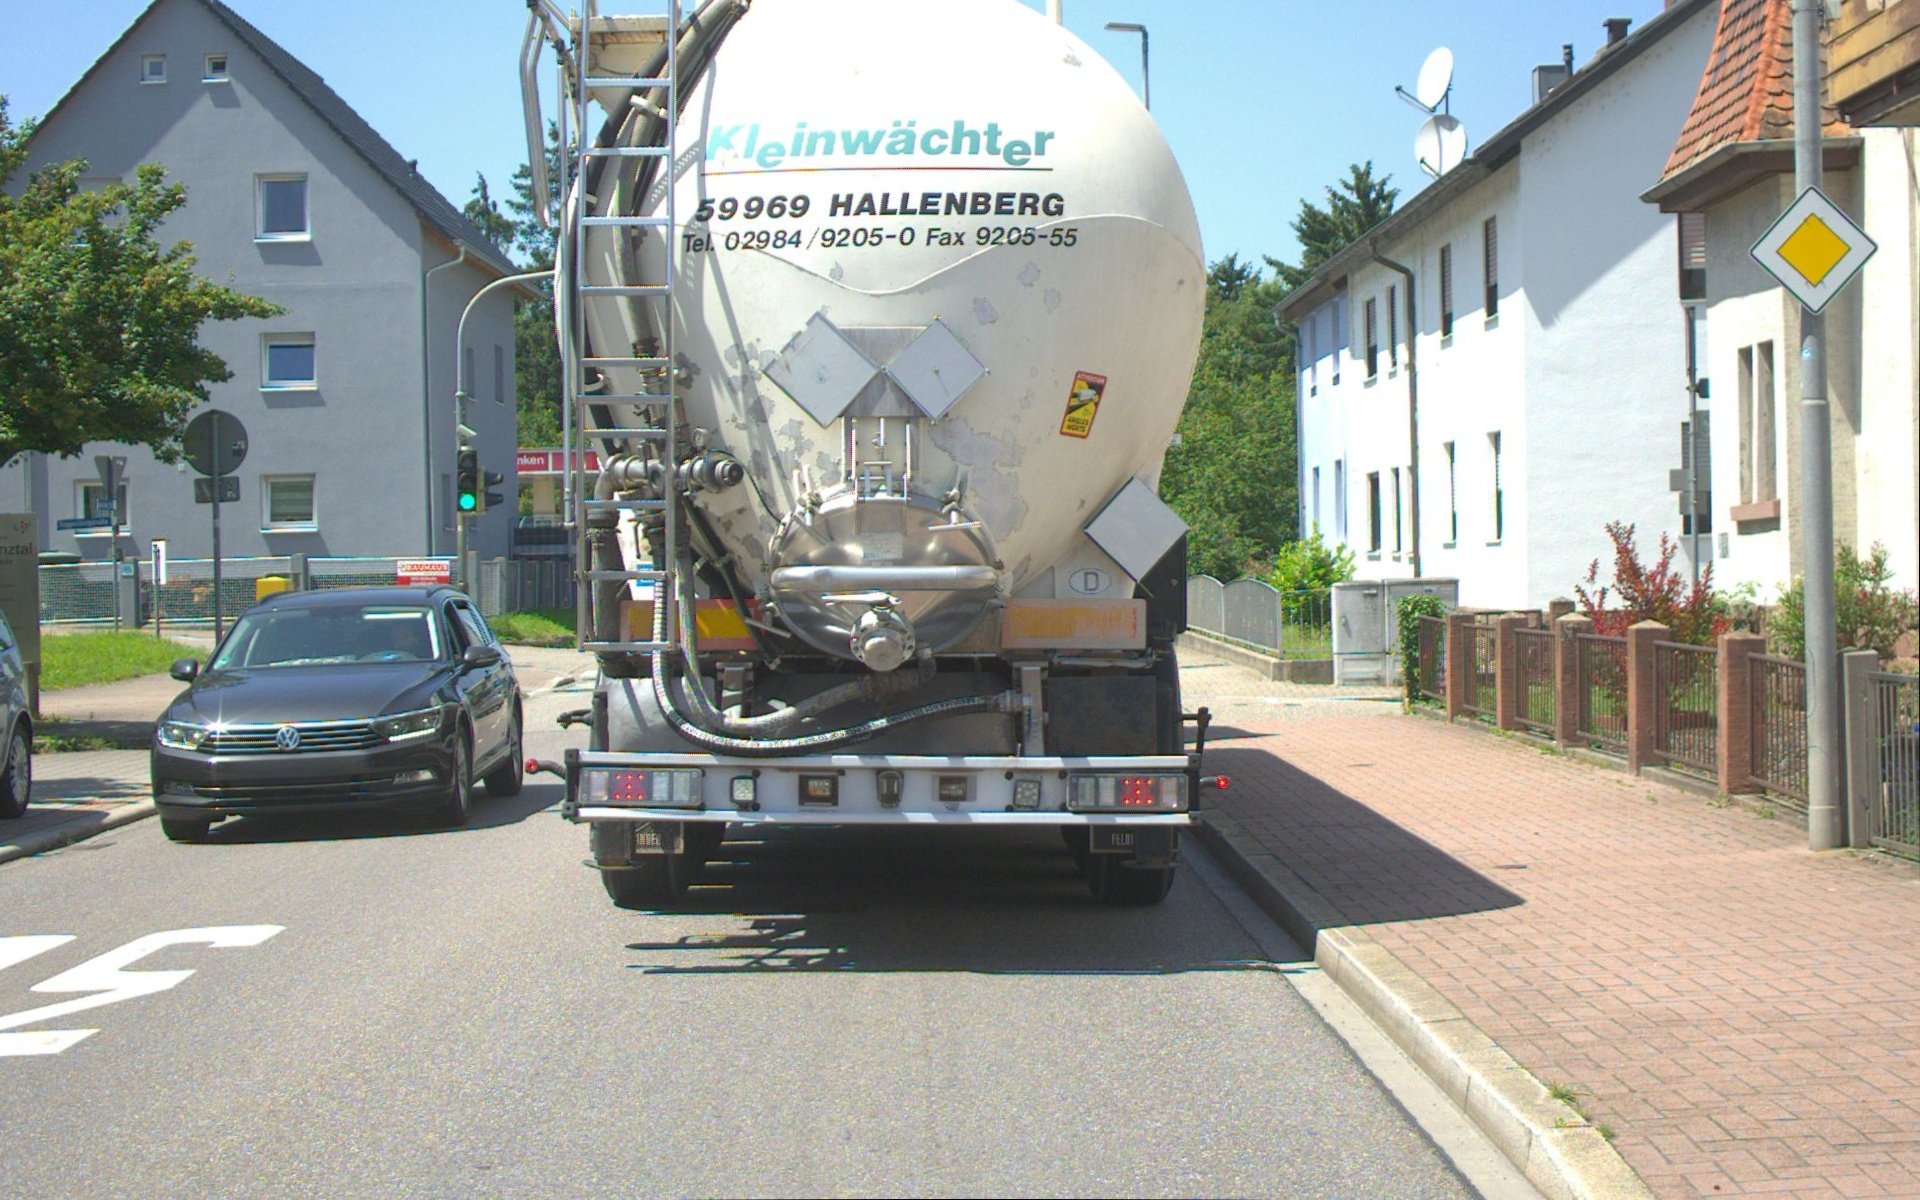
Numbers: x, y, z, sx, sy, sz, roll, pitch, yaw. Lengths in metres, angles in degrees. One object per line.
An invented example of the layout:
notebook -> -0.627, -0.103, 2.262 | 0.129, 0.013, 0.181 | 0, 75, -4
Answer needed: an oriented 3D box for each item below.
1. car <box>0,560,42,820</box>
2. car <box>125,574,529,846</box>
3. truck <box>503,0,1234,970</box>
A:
car -> -6.647, 0.553, 19.926 | 1.697, 1.575, 3.838 | 0, 1, -1
car -> -3.890, 0.614, 21.818 | 1.784, 1.451, 4.258 | -3, 1, -1
truck -> -0.362, -0.719, 17.216 | 2.641, 4.002, 9.561 | 0, 1, 0
